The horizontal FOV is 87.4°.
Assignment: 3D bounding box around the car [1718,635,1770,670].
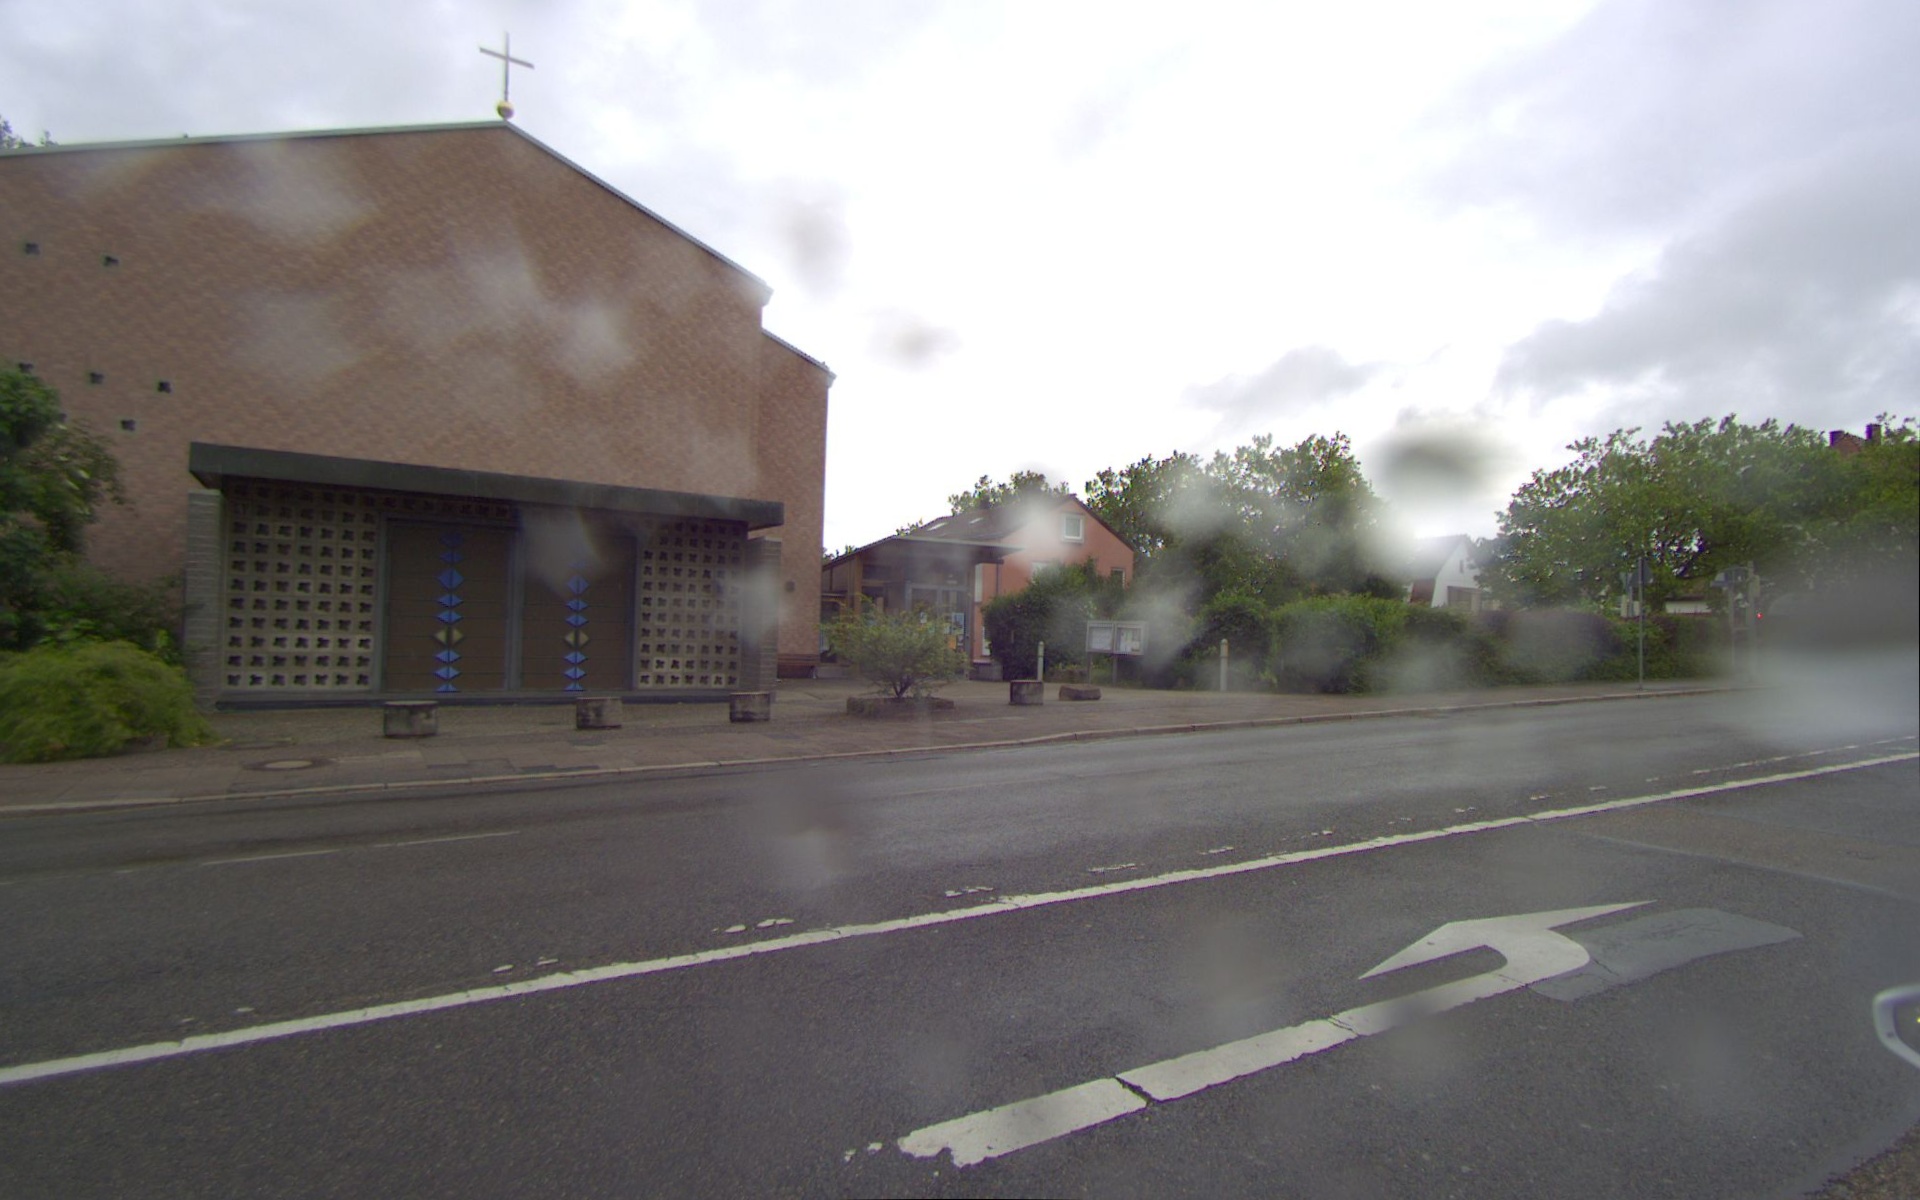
[{"bbox_3d":[38.645,2.551,49.540,1.969,1.572,3.983,0,-1,38],"label":"car"}]
